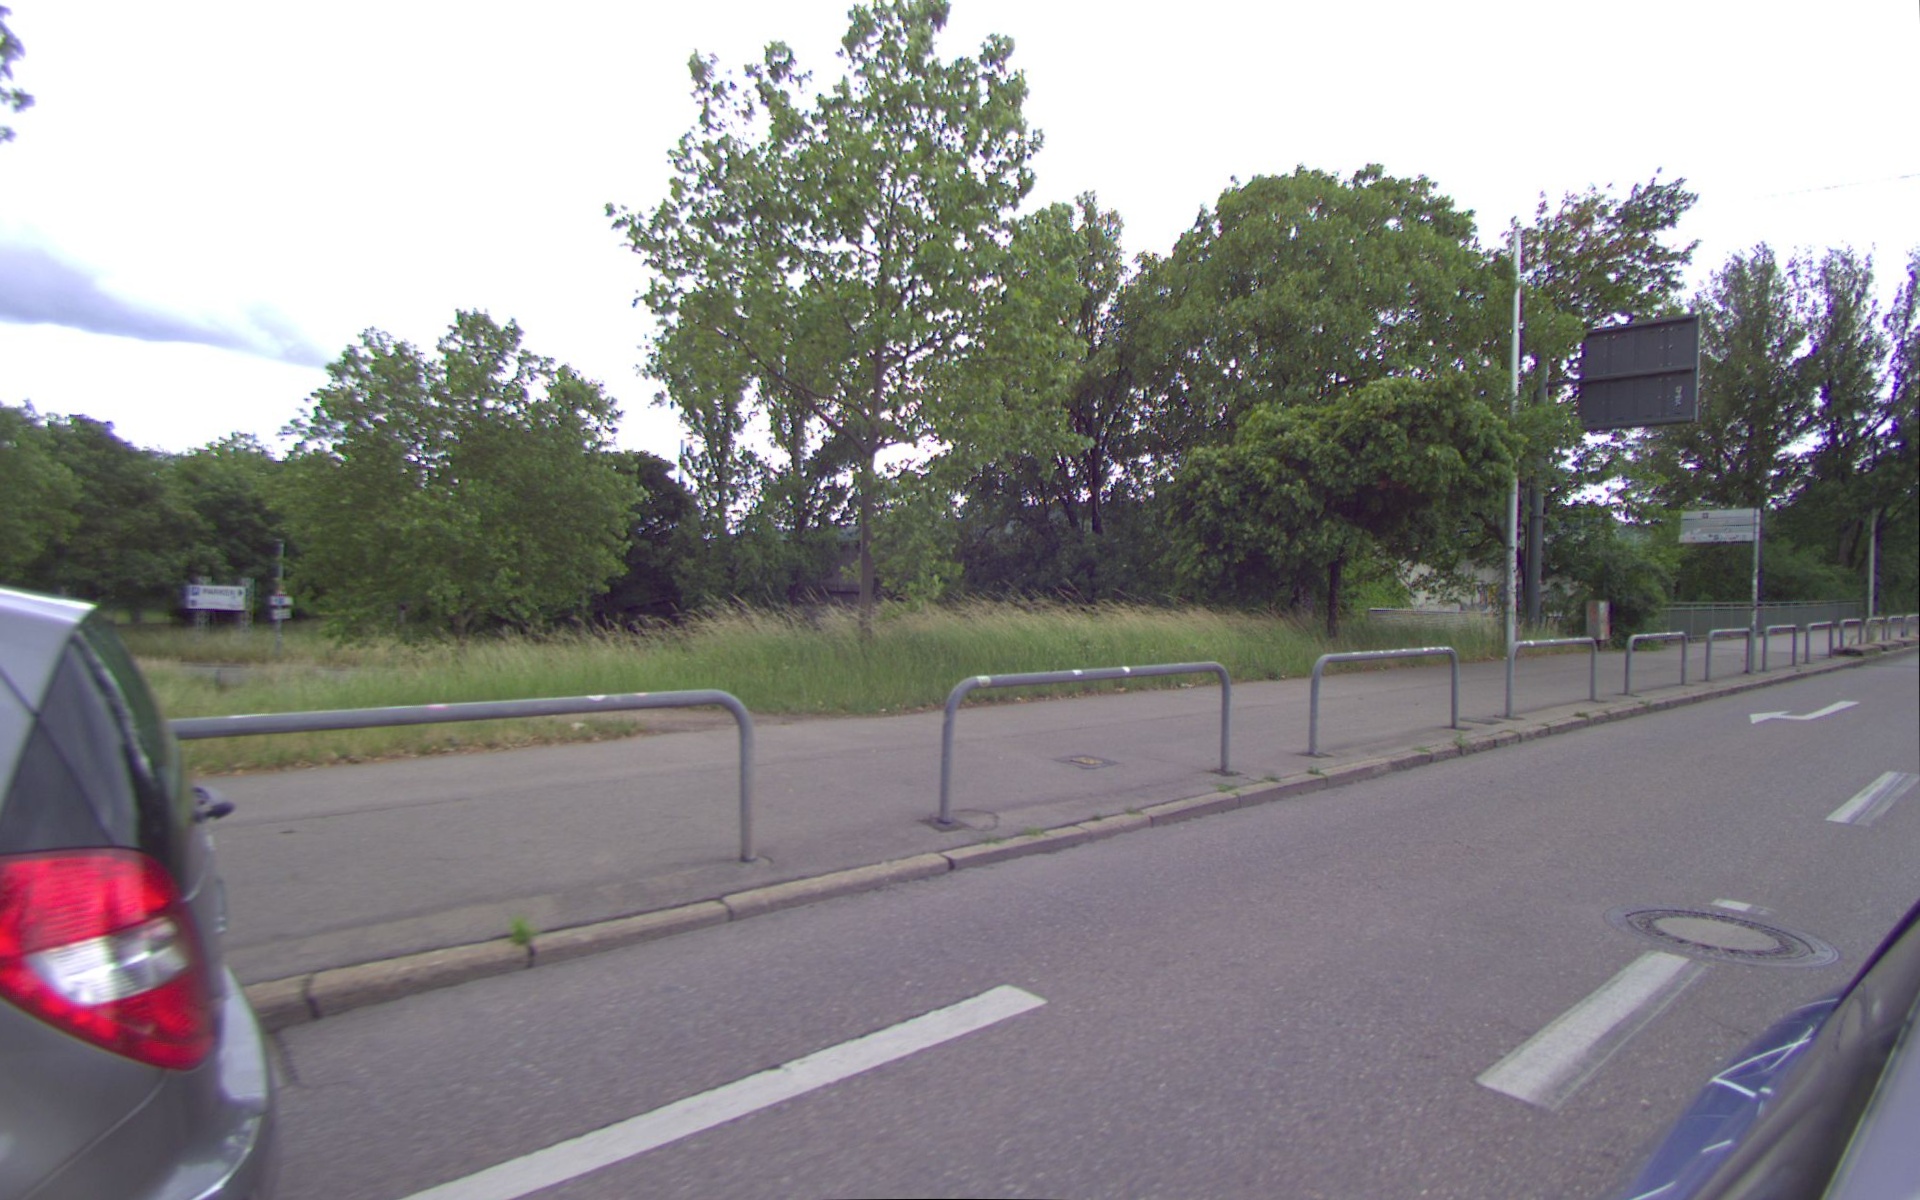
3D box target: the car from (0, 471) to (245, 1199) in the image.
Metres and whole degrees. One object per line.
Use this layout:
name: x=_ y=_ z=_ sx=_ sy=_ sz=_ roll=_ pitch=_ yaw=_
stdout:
car: x=-3.125 y=0.621 z=0.858 sx=3.962 sy=1.637 sz=1.830 roll=1 pitch=0 yaw=-40
